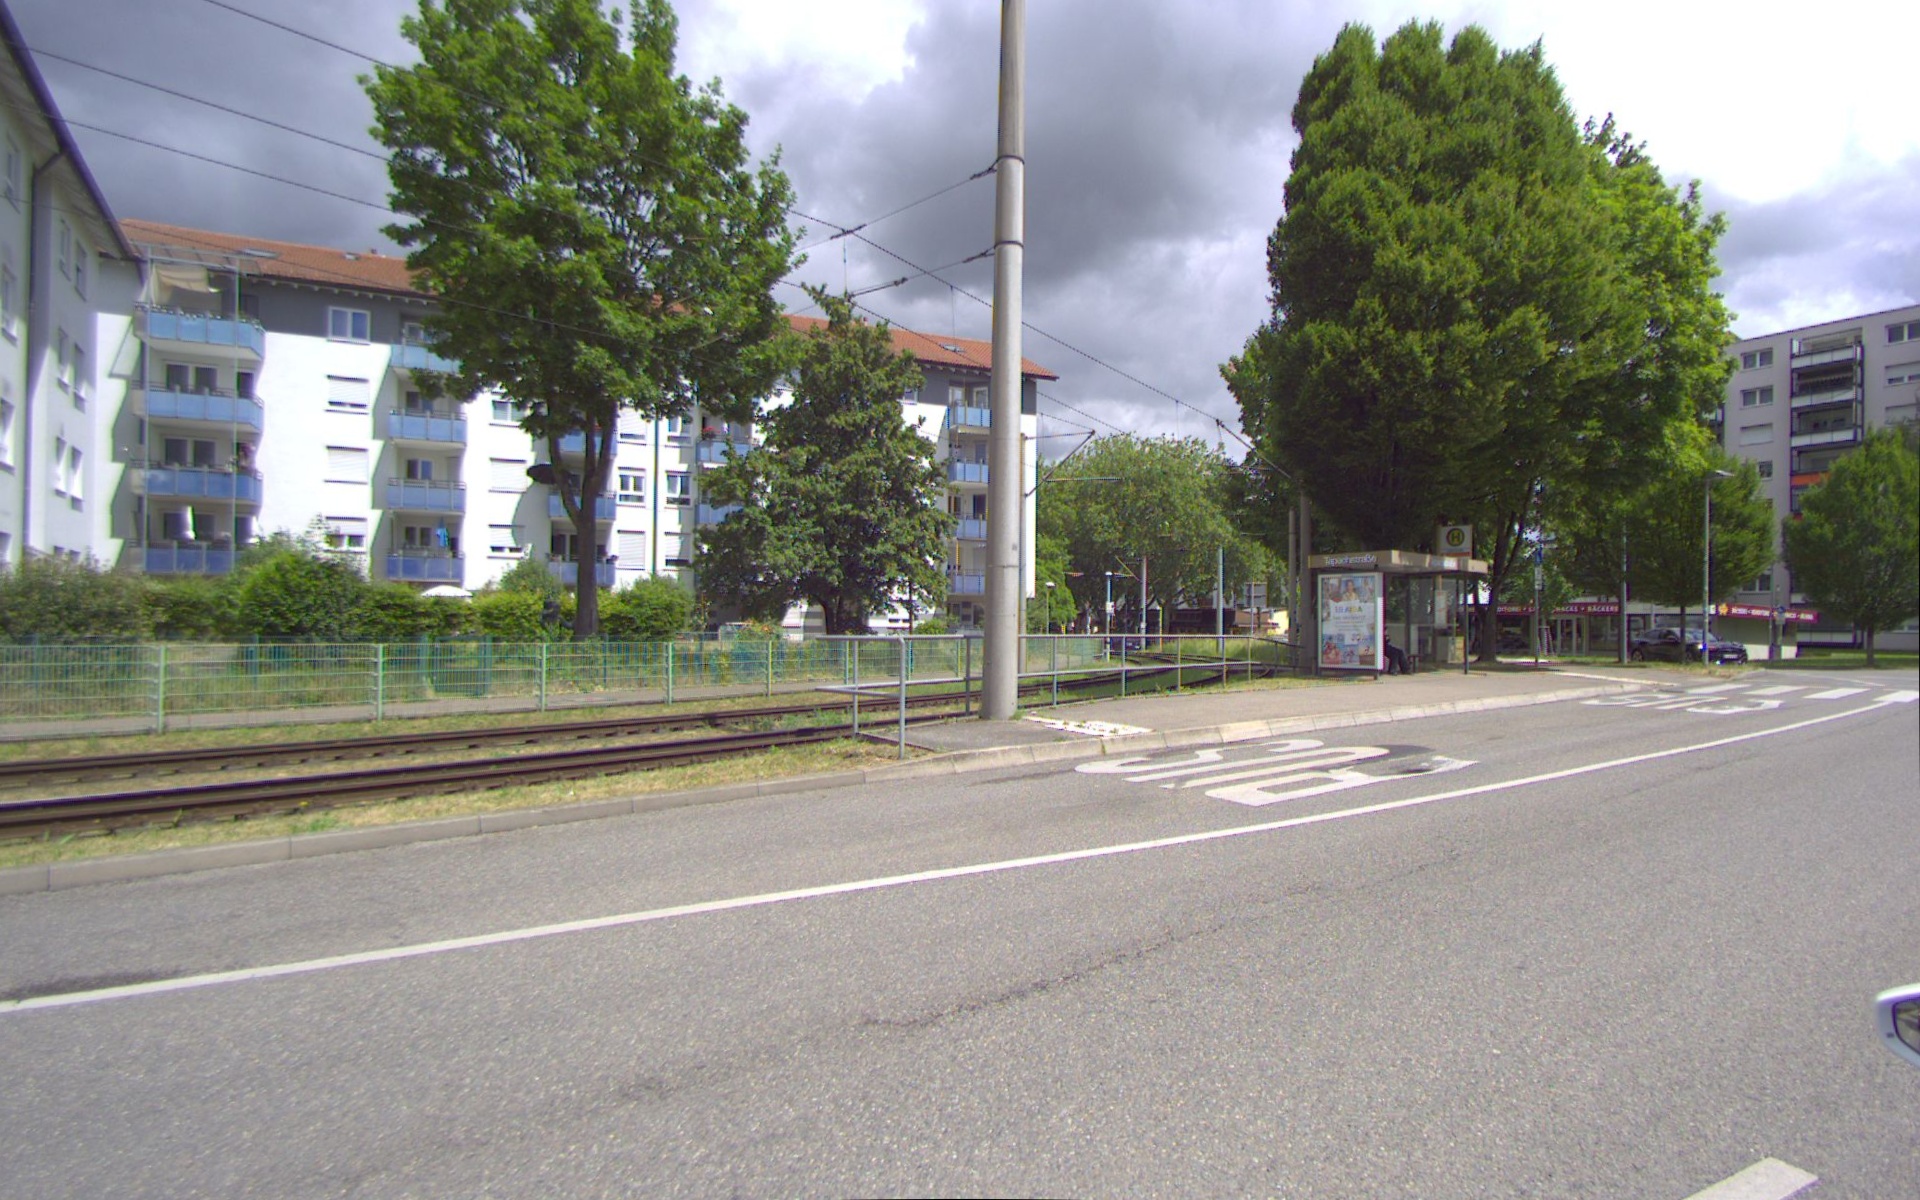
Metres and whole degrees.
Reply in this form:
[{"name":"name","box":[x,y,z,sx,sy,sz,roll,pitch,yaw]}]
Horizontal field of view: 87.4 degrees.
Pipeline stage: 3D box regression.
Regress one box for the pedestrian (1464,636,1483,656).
[{"name":"pedestrian","box":[36.346,3.239,71.081,0.870,1.342,0.816,1,0,-31]}]

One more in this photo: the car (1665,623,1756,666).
[{"name":"car","box":[28.874,1.695,38.795,1.963,1.546,4.521,-1,-2,26]}]

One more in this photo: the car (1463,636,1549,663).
[{"name":"car","box":[29.121,2.624,53.740,1.789,1.402,4.615,0,-2,-6]}]

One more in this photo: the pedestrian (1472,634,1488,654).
[{"name":"pedestrian","box":[37.043,3.157,71.574,0.710,1.399,0.695,1,-2,-24]}]

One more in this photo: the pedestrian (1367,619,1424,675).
[{"name":"pedestrian","box":[9.351,0.990,21.559,0.903,1.150,0.792,1,-1,-37]}]
